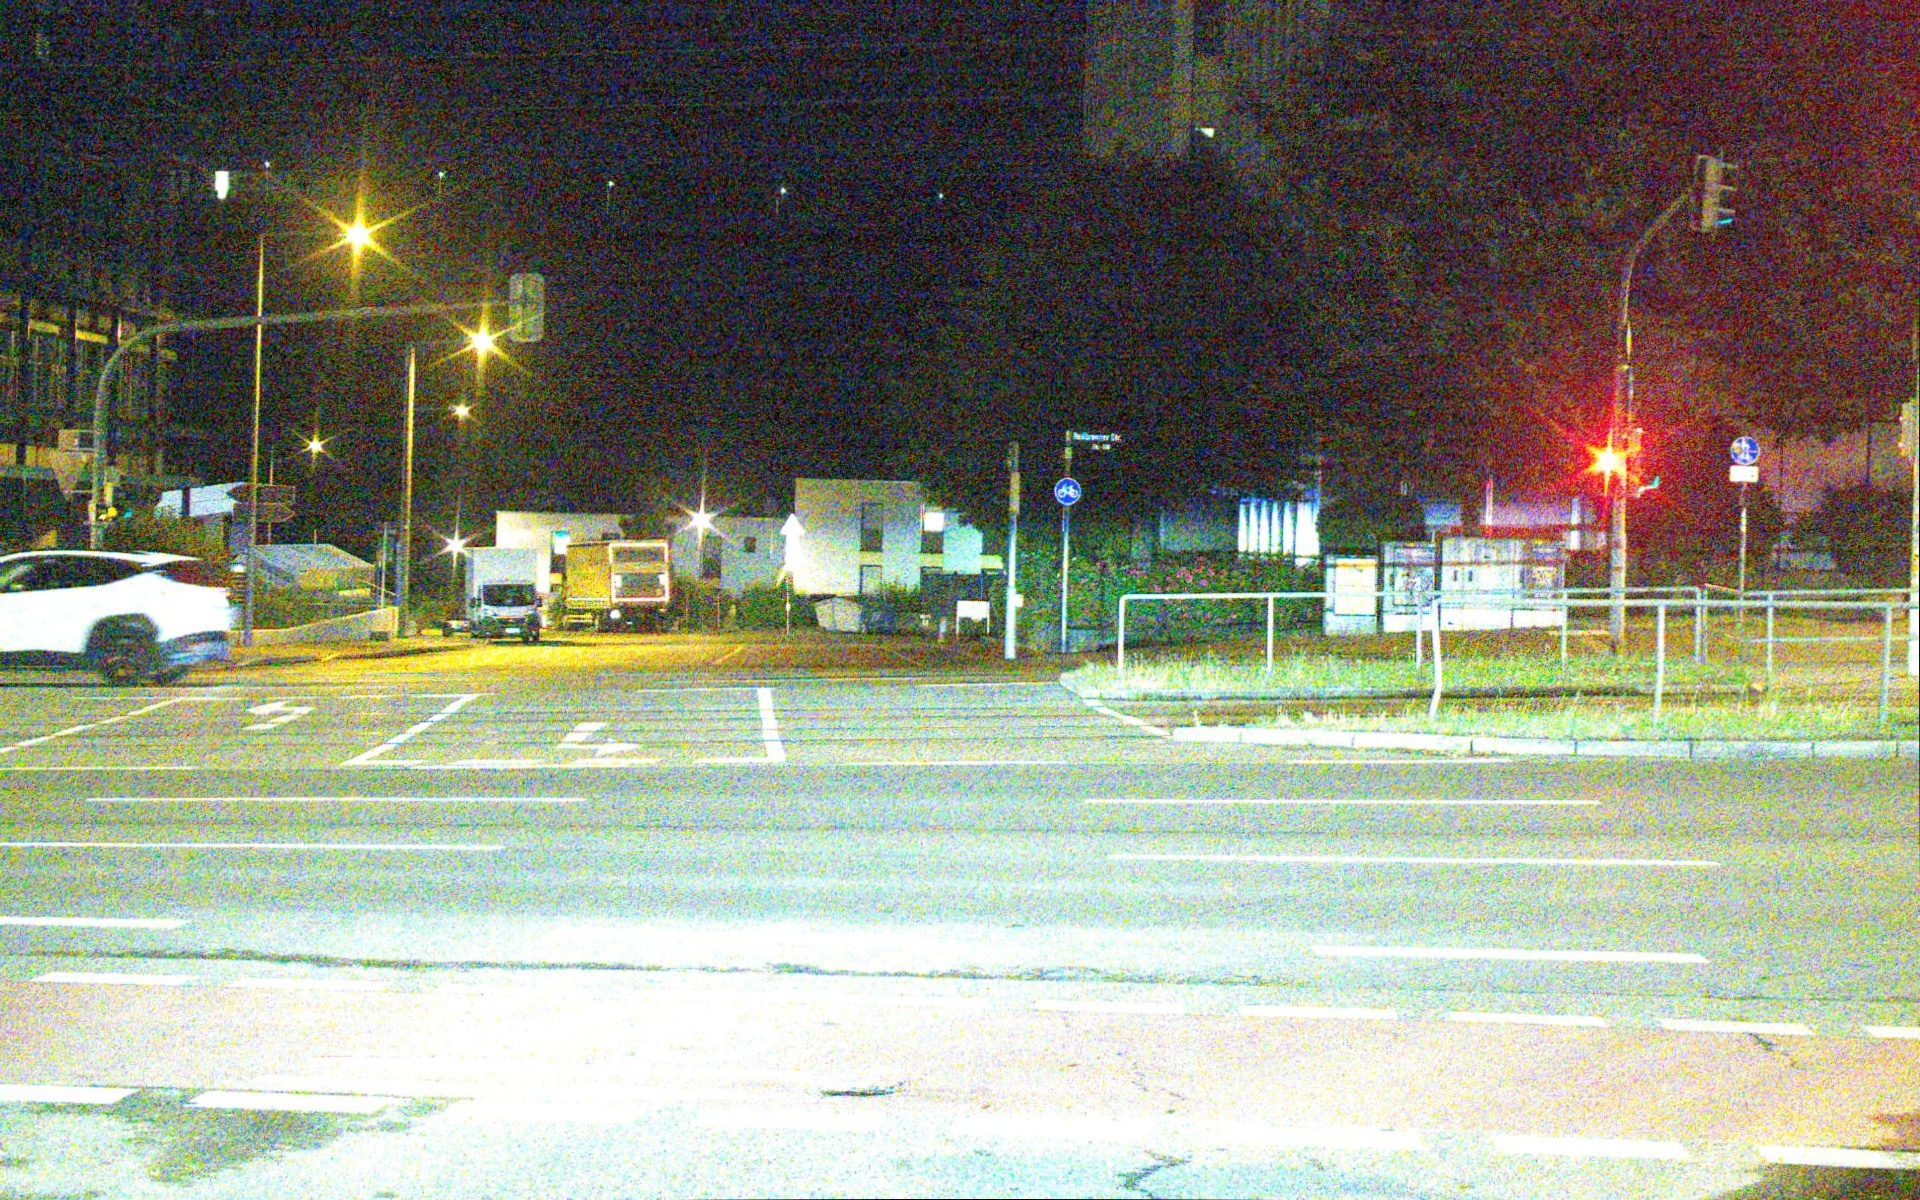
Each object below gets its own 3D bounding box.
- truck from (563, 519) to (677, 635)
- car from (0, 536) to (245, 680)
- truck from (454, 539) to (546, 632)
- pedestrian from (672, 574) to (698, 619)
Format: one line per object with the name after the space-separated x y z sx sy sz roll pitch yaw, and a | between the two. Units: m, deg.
-14.780 -0.994 148.848 3.359 4.826 7.908 1 0 -17 | truck
-11.014 0.074 41.252 4.398 1.638 1.941 1 0 3 | car
-16.033 -0.496 119.560 2.417 3.078 6.439 1 0 -14 | truck
-11.788 -0.168 147.442 0.849 1.905 1.007 1 0 -18 | pedestrian
